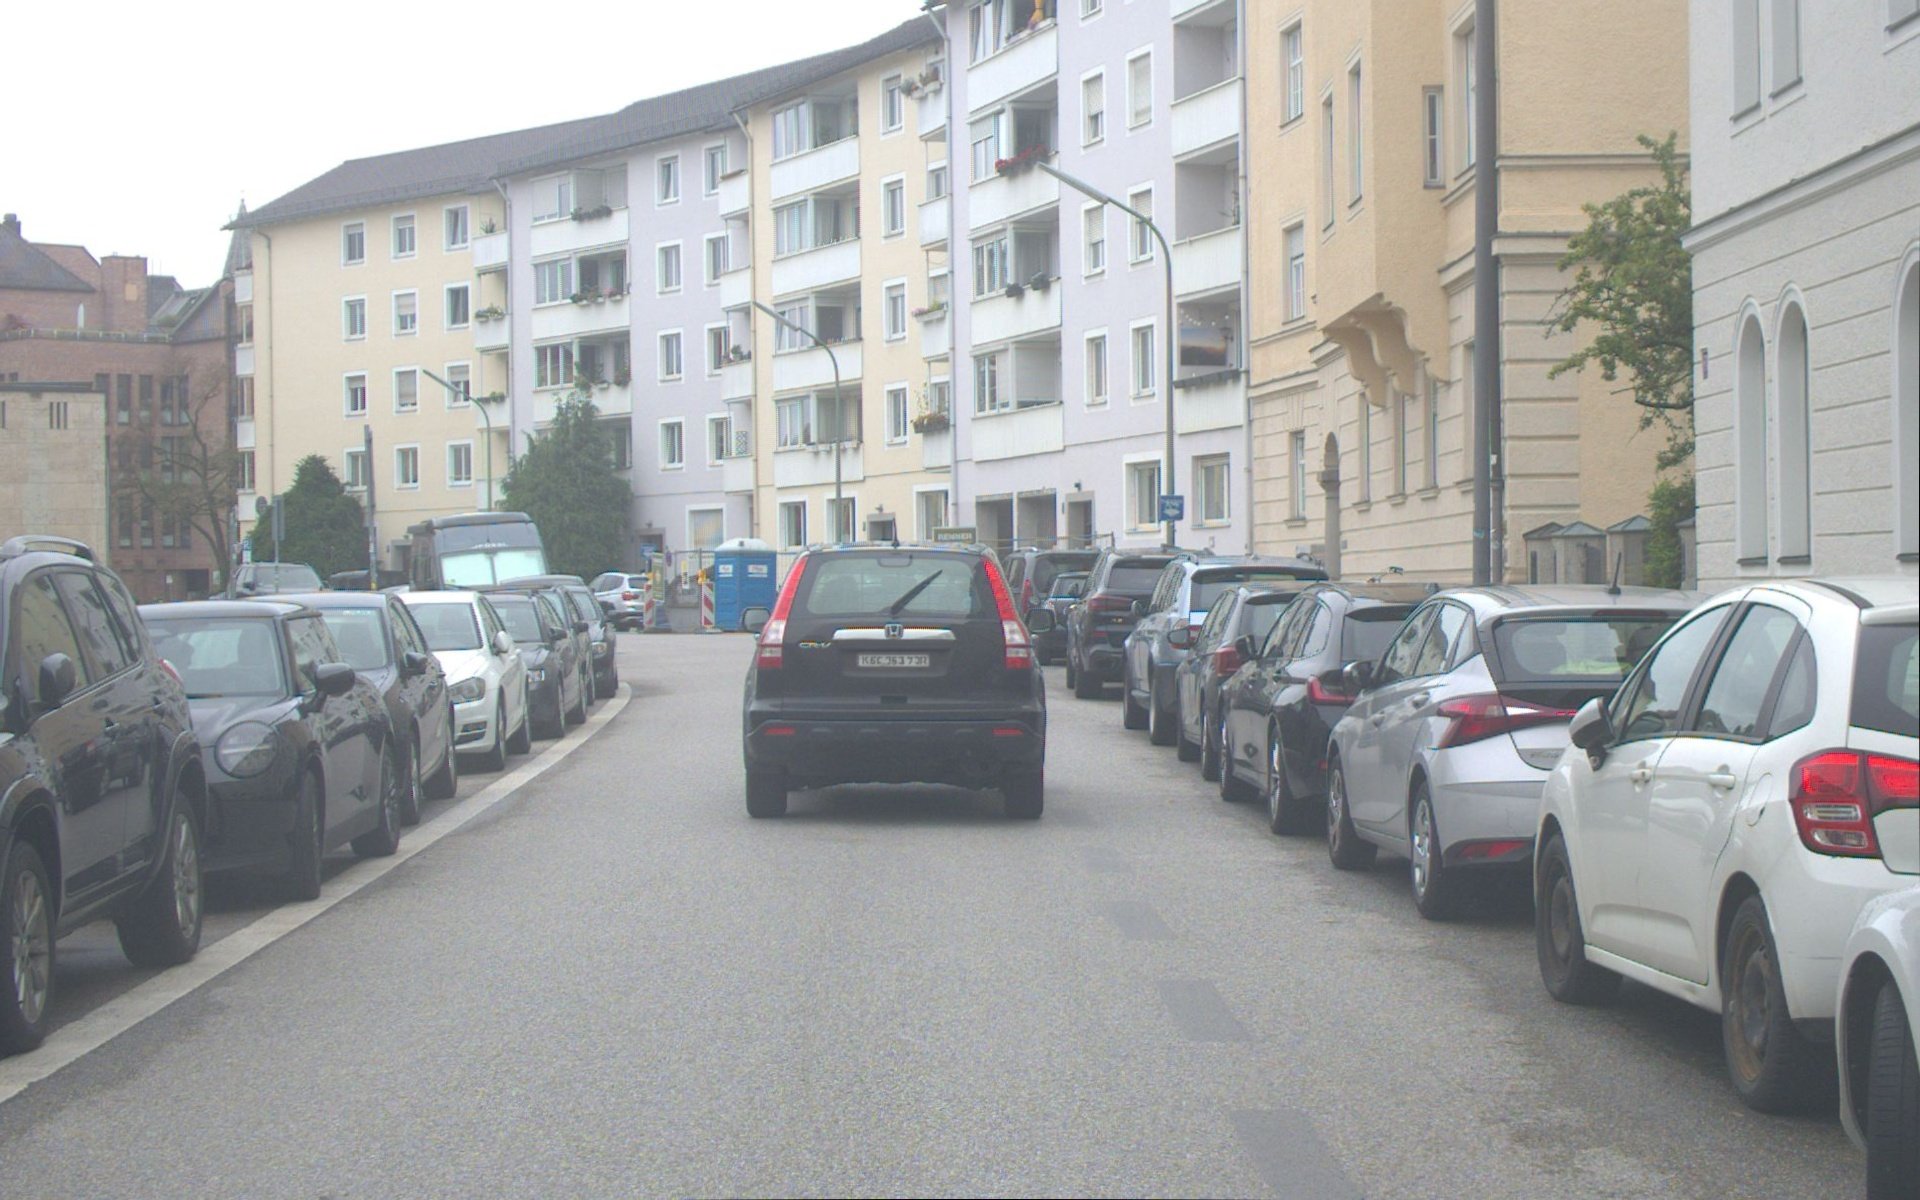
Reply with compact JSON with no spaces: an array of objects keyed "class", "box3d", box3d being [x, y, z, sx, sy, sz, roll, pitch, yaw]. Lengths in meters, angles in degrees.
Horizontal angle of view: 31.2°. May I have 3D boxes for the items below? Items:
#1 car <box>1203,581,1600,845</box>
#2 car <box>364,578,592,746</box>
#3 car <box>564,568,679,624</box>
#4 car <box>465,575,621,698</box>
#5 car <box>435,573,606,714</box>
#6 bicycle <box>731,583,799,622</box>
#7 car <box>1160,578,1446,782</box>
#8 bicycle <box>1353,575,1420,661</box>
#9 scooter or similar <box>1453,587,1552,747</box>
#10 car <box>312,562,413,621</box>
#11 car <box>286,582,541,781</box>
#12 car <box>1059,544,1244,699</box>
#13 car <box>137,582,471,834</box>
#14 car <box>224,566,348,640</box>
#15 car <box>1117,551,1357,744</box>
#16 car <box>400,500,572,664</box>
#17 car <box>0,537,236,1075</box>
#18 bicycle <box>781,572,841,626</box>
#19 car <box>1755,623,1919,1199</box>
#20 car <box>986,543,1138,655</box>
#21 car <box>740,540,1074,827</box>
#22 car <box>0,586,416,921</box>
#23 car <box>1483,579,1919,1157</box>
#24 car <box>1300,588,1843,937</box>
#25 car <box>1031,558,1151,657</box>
[{"class":"car","box3d":[2.553,0.600,20.867,1.679,1.422,4.391,0,0,-2]},{"class":"car","box3d":[-4.629,0.549,33.567,1.755,1.448,4.396,-2,1,-3]},{"class":"car","box3d":[-9.356,-0.119,94.843,1.724,1.478,4.000,0,1,-29]},{"class":"car","box3d":[-5.217,0.421,43.452,1.799,1.401,4.456,-2,1,-5]},{"class":"car","box3d":[-4.895,0.455,38.625,1.656,1.448,3.313,-2,1,-4]},{"class":"bicycle","box3d":[-5.549,0.067,97.774,1.865,1.087,0.566,0,0,-22]},{"class":"car","box3d":[2.533,0.549,26.210,1.679,1.422,4.087,0,0,-1]},{"class":"bicycle","box3d":[5.703,0.231,46.038,0.579,1.079,1.953,-3,1,-1]},{"class":"scooter or similar","box3d":[4.005,0.486,25.421,0.484,1.160,1.172,0,0,-3]},{"class":"car","box3d":[-19.407,-0.294,111.530,1.724,1.871,4.000,0,1,-34]},{"class":"car","box3d":[-4.431,0.610,28.374,1.656,1.448,4.074,-2,1,-4]},{"class":"car","box3d":[2.225,0.227,41.159,1.869,1.711,4.865,1,0,0]},{"class":"car","box3d":[-4.263,0.646,22.860,1.656,1.448,3.975,-2,1,-4]},{"class":"car","box3d":[-16.035,0.052,81.665,1.679,1.701,4.514,0,0,-27]},{"class":"car","box3d":[2.440,0.389,31.255,1.722,1.629,4.458,0,0,-1]},{"class":"car","box3d":[-8.239,-0.331,59.282,2.163,2.633,6.019,-2,1,-15]},{"class":"car","box3d":[-3.915,0.671,12.245,1.743,1.660,4.449,-4,1,-1]},{"class":"bicycle","box3d":[-3.915,-0.032,90.085,0.968,1.384,2.564,0,0,-16]},{"class":"car","box3d":[2.812,0.770,6.073,1.679,1.405,4.443,0,0,-1]},{"class":"car","box3d":[1.685,-0.036,58.259,1.777,1.800,4.277,1,0,-9]},{"class":"car","box3d":[-0.428,0.467,21.759,1.890,1.642,3.992,0,0,-4]},{"class":"car","box3d":[-3.907,0.698,17.592,1.680,1.448,3.870,-2,1,-1]},{"class":"car","box3d":[2.893,0.674,10.910,1.679,1.476,4.167,0,0,-2]},{"class":"car","box3d":[2.734,0.664,16.288,1.679,1.422,4.167,0,0,-2]},{"class":"car","box3d":[2.000,0.099,53.199,1.708,1.442,3.830,1,0,0]}]
